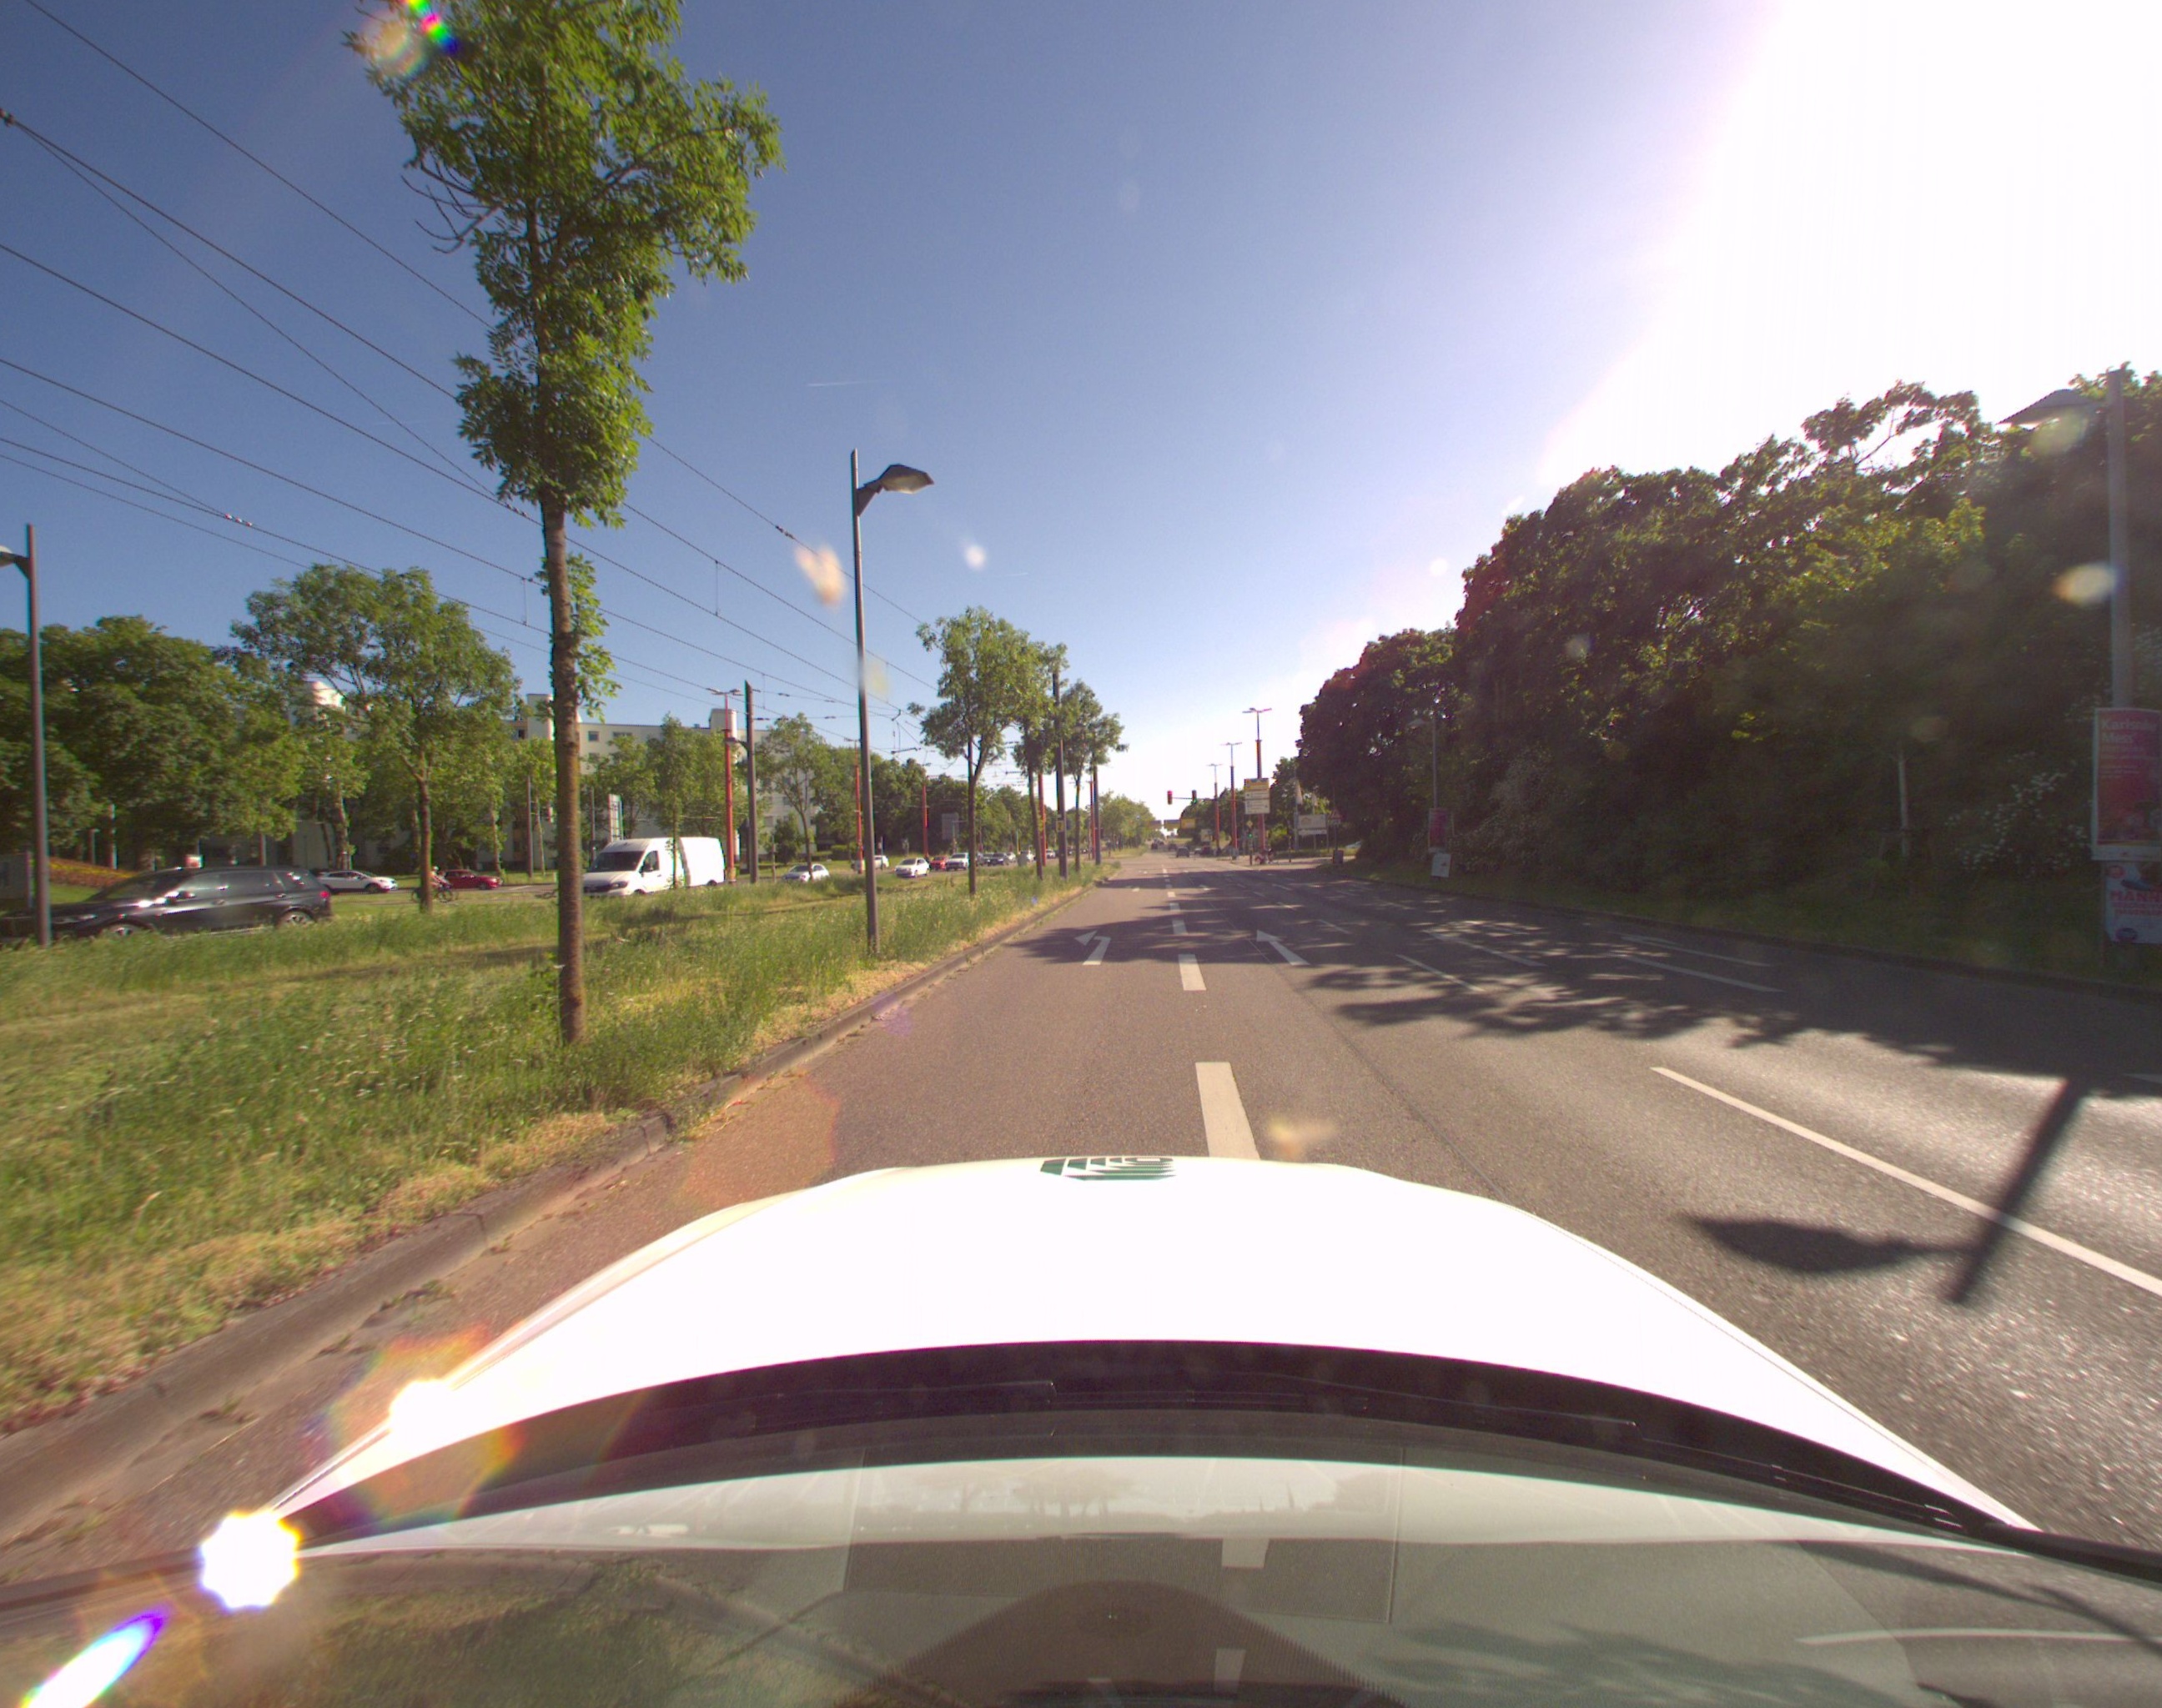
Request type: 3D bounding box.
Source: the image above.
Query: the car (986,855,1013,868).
[{"bbox_3d":[-9.250,0.820,92.743,1.983,1.409,5.000,-1,0,7],"label":"car"}]

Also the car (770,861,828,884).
[{"bbox_3d":[-17.092,1.088,49.595,1.788,1.293,4.007,-1,0,6],"label":"car"}]

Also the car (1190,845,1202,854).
[{"bbox_3d":[20.782,-0.787,147.726,1.984,1.540,4.006,-1,0,5],"label":"car"}]

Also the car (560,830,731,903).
[{"bbox_3d":[-15.622,0.398,29.869,2.030,2.369,6.890,-1,0,5],"label":"car"}]

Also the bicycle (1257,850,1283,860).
[{"bbox_3d":[16.253,0.079,69.970,2.159,0.878,0.558,-1,0,-7],"label":"bicycle"}]

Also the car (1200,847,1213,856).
[{"bbox_3d":[19.729,-0.433,128.194,1.729,1.341,3.086,-1,0,5],"label":"car"}]

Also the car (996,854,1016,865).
[{"bbox_3d":[-10.712,0.777,116.792,1.983,1.374,4.409,-1,0,7],"label":"car"}]

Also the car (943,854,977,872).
[{"bbox_3d":[-11.178,0.811,75.495,1.884,1.621,4.667,-1,0,8],"label":"car"}]

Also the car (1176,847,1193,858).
[{"bbox_3d":[14.378,-0.170,113.260,1.986,1.496,4.001,-2,0,1],"label":"car"}]

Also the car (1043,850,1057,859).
[{"bbox_3d":[-5.000,0.085,133.543,1.695,1.423,4.649,-2,0,5],"label":"car"}]

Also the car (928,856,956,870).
[{"bbox_3d":[-13.594,0.851,79.793,1.649,1.297,4.182,-1,0,5],"label":"car"}]

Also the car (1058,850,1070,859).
[{"bbox_3d":[-3.195,0.027,156.958,1.792,1.707,4.066,-2,0,5],"label":"car"}]

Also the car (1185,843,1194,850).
[{"bbox_3d":[25.407,-1.664,191.199,1.984,1.541,4.006,-1,-1,5],"label":"car"}]

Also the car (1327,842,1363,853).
[{"bbox_3d":[35.725,-0.875,110.390,4.354,1.371,2.065,-2,0,6],"label":"car"}]

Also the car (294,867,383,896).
[{"bbox_3d":[-49.766,1.804,54.675,4.007,1.750,1.896,-1,0,-26],"label":"car"}]

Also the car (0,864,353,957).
[{"bbox_3d":[-19.040,1.068,17.353,1.984,1.584,5.280,-1,0,5],"label":"car"}]

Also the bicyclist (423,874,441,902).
[{"bbox_3d":[-34.206,1.796,42.917,0.761,1.430,0.743,-1,0,-39],"label":"bicyclist"}]

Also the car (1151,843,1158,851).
[{"bbox_3d":[20.196,-1.904,223.877,1.984,2.013,4.005,-1,0,4],"label":"car"}]

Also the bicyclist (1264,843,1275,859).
[{"bbox_3d":[16.173,-0.279,69.932,0.738,1.341,0.706,-1,0,-5],"label":"bicyclist"}]

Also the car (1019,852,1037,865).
[{"bbox_3d":[-7.080,0.632,110.116,1.754,1.608,3.764,-2,0,6],"label":"car"}]

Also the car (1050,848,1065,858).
[{"bbox_3d":[-4.087,-0.127,143.226,1.983,1.594,4.473,-2,0,7],"label":"car"}]

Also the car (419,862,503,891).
[{"bbox_3d":[-43.308,1.542,57.008,4.283,1.901,1.983,-1,0,-26],"label":"car"}]

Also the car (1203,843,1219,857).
[{"bbox_3d":[17.719,-0.563,110.711,1.981,1.887,4.012,-2,0,11],"label":"car"}]

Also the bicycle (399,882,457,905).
[{"bbox_3d":[-34.313,2.066,42.826,2.373,1.081,0.468,-1,0,-40],"label":"bicycle"}]

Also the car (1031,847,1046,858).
[{"bbox_3d":[-6.409,-0.238,123.214,1.581,1.472,4.191,-3,1,6],"label":"car"}]

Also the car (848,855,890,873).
[{"bbox_3d":[-25.113,1.152,96.544,1.974,2.013,4.435,-1,1,39],"label":"car"}]

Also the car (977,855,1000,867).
[{"bbox_3d":[-11.863,0.836,104.276,1.984,1.432,4.700,-2,0,5],"label":"car"}]

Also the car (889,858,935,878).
[{"bbox_3d":[-12.928,1.076,62.551,1.887,1.398,4.557,-1,0,11],"label":"car"}]

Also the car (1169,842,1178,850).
[{"bbox_3d":[23.780,-1.994,208.501,2.144,2.013,4.006,-2,0,5],"label":"car"}]
